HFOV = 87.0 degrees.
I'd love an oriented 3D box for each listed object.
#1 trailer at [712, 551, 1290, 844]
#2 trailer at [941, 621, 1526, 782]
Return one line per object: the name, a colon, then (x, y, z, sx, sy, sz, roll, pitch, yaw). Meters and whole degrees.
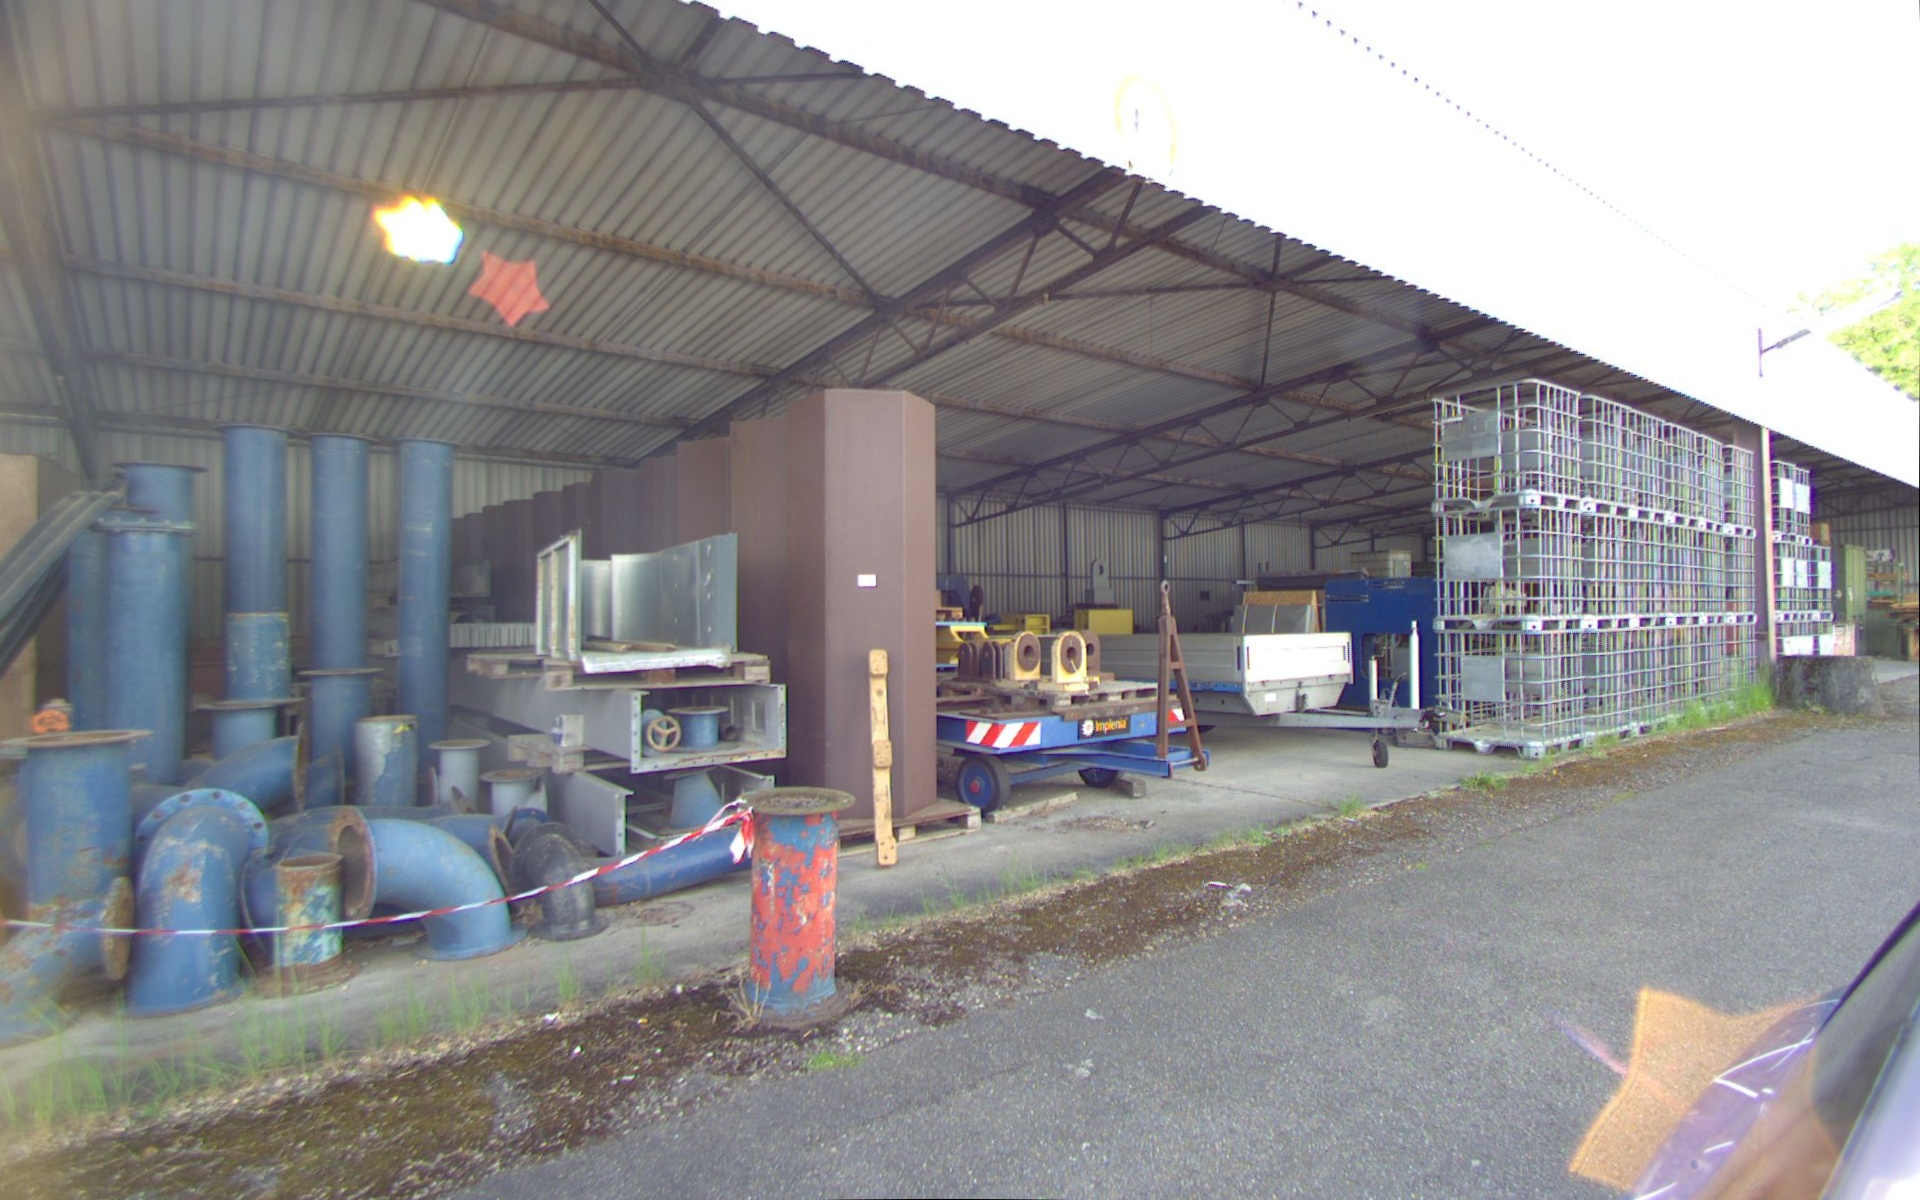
trailer: (-0.027, 0.563, 8.237, 1.993, 1.649, 4.877, 0, 0, -39)
trailer: (2.361, 0.826, 10.517, 1.993, 1.134, 5.834, 0, -1, -39)
